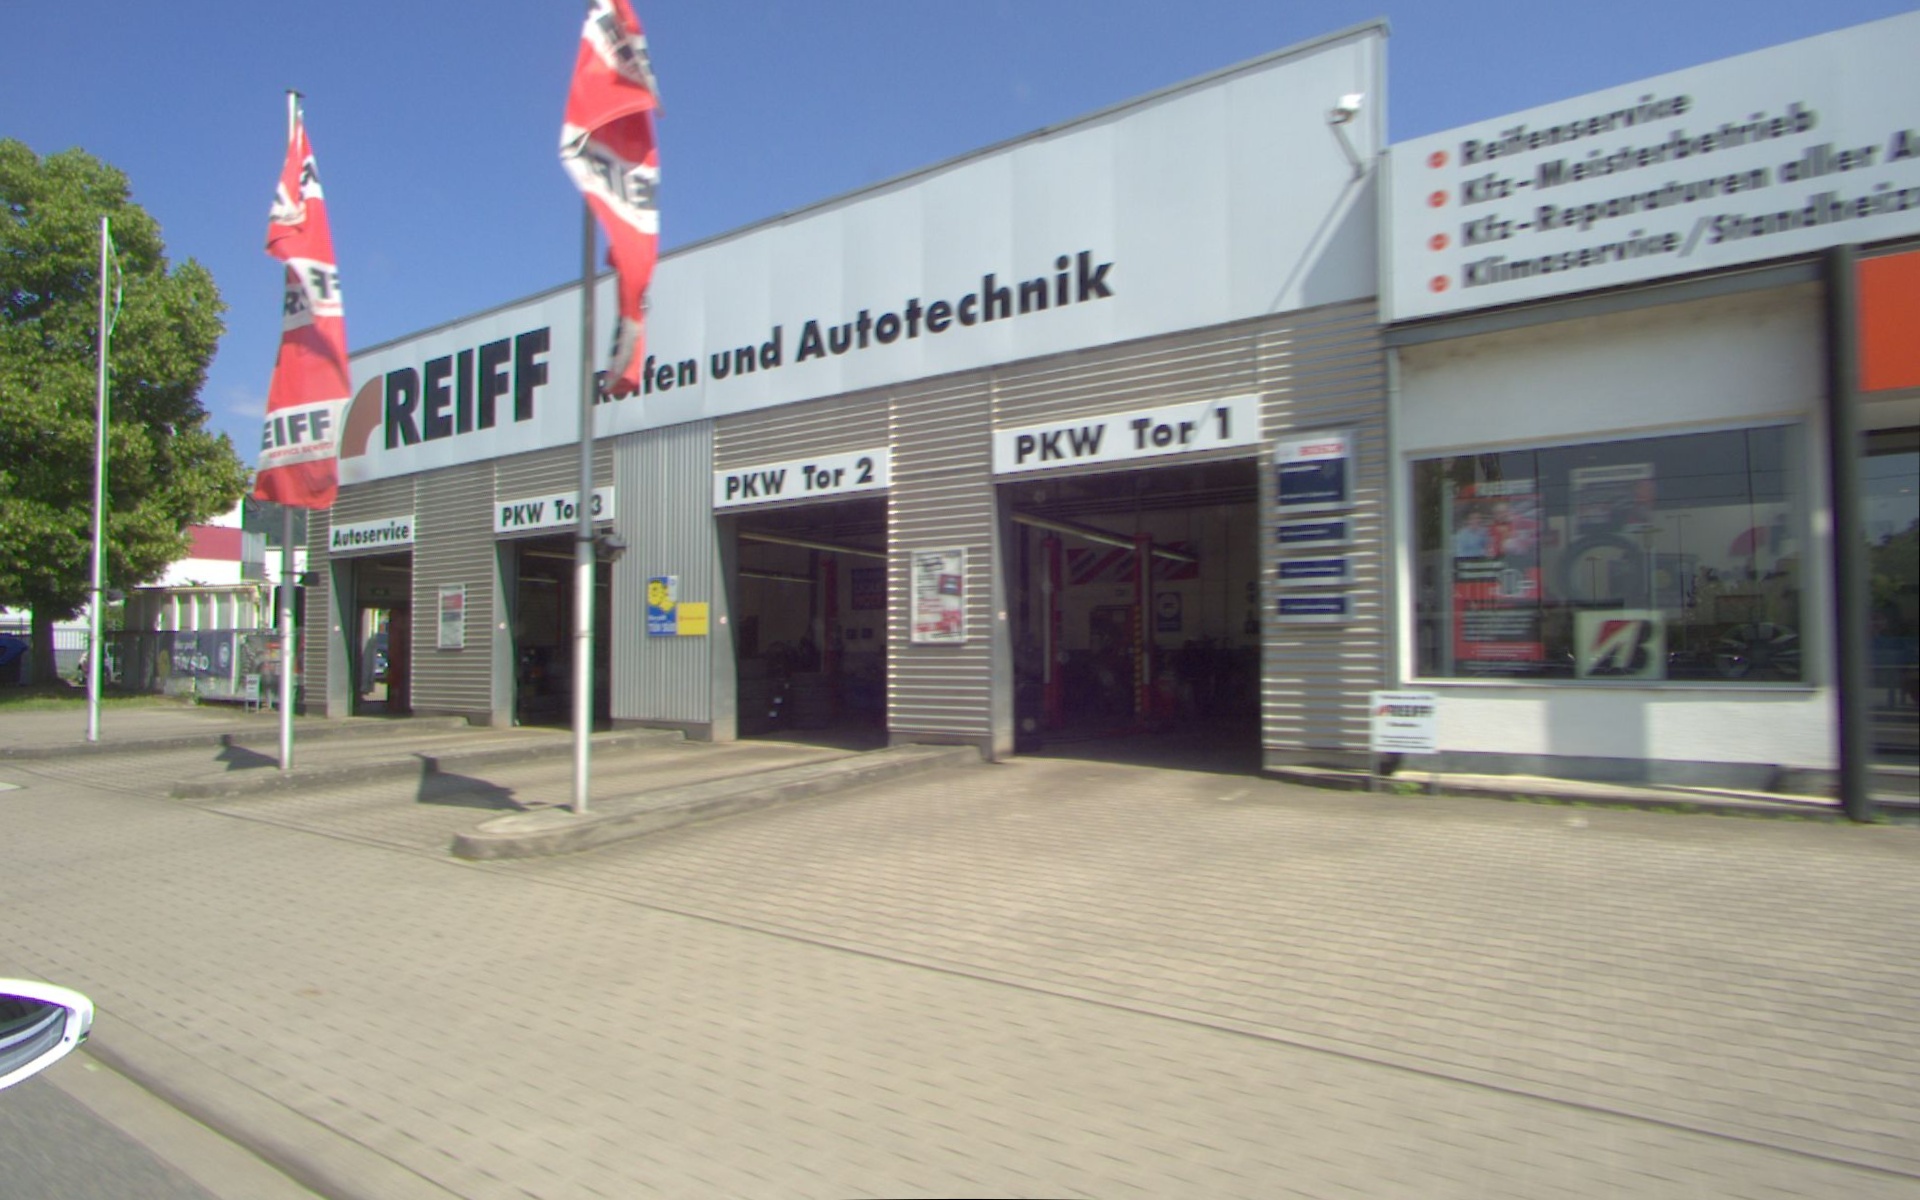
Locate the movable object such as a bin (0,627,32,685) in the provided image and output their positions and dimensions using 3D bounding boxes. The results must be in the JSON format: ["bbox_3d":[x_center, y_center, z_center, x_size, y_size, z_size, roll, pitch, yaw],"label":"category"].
[{"bbox_3d":[-26.376,1.538,27.442,1.301,1.565,0.978,-3,-4,29],"label":"movable object such as a bin"}]

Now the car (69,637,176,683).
[{"bbox_3d":[-28.810,2.024,34.429,3.944,1.478,1.740,-1,-3,34],"label":"car"}]

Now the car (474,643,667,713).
[{"bbox_3d":[-8.455,1.666,22.068,1.698,1.393,3.761,-1,-3,28],"label":"car"}]
